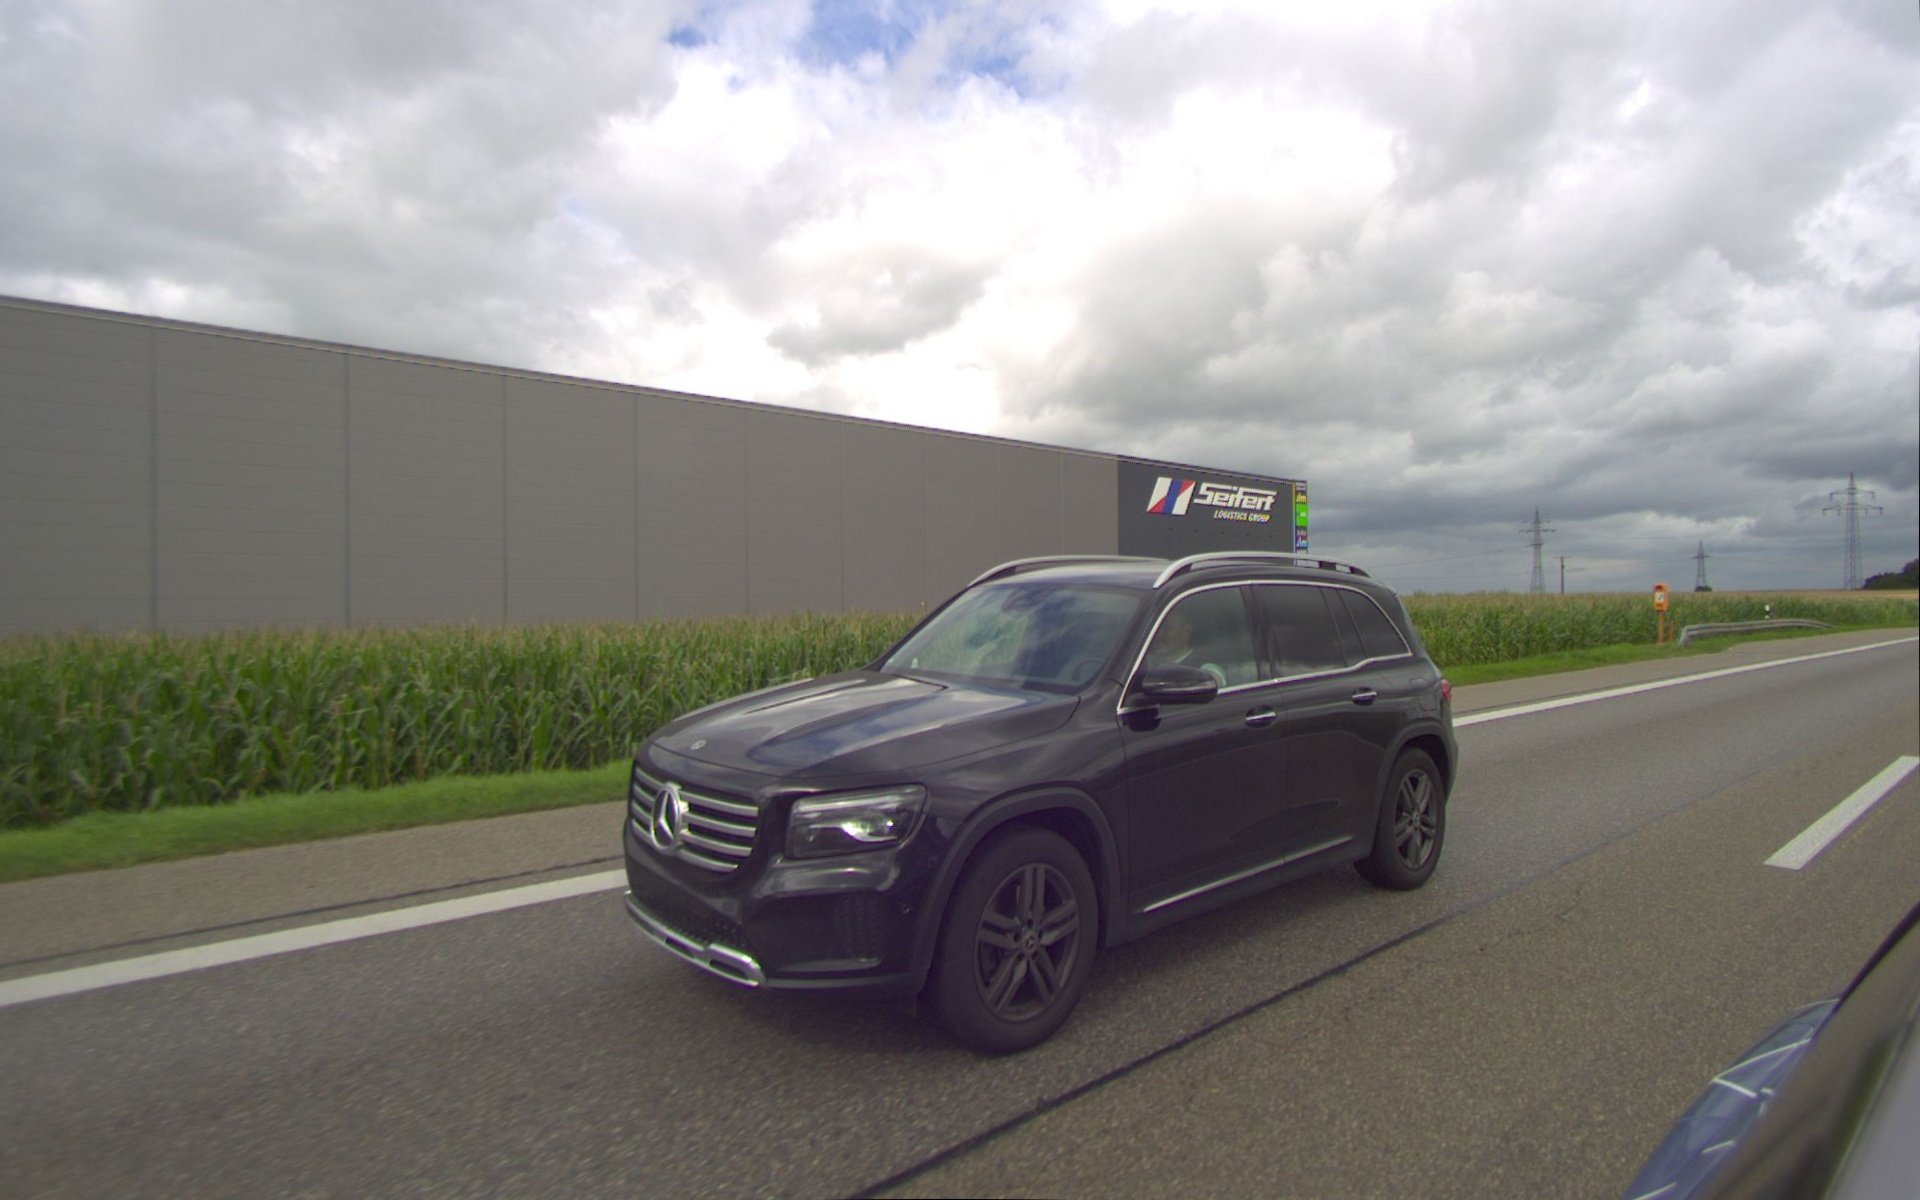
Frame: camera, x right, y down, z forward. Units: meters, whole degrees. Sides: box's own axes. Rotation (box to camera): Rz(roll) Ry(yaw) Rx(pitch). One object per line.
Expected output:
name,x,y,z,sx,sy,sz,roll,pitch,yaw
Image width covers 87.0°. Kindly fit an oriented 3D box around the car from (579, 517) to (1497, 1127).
car,0.667,0.558,4.788,4.283,1.629,1.837,-1,1,-40
